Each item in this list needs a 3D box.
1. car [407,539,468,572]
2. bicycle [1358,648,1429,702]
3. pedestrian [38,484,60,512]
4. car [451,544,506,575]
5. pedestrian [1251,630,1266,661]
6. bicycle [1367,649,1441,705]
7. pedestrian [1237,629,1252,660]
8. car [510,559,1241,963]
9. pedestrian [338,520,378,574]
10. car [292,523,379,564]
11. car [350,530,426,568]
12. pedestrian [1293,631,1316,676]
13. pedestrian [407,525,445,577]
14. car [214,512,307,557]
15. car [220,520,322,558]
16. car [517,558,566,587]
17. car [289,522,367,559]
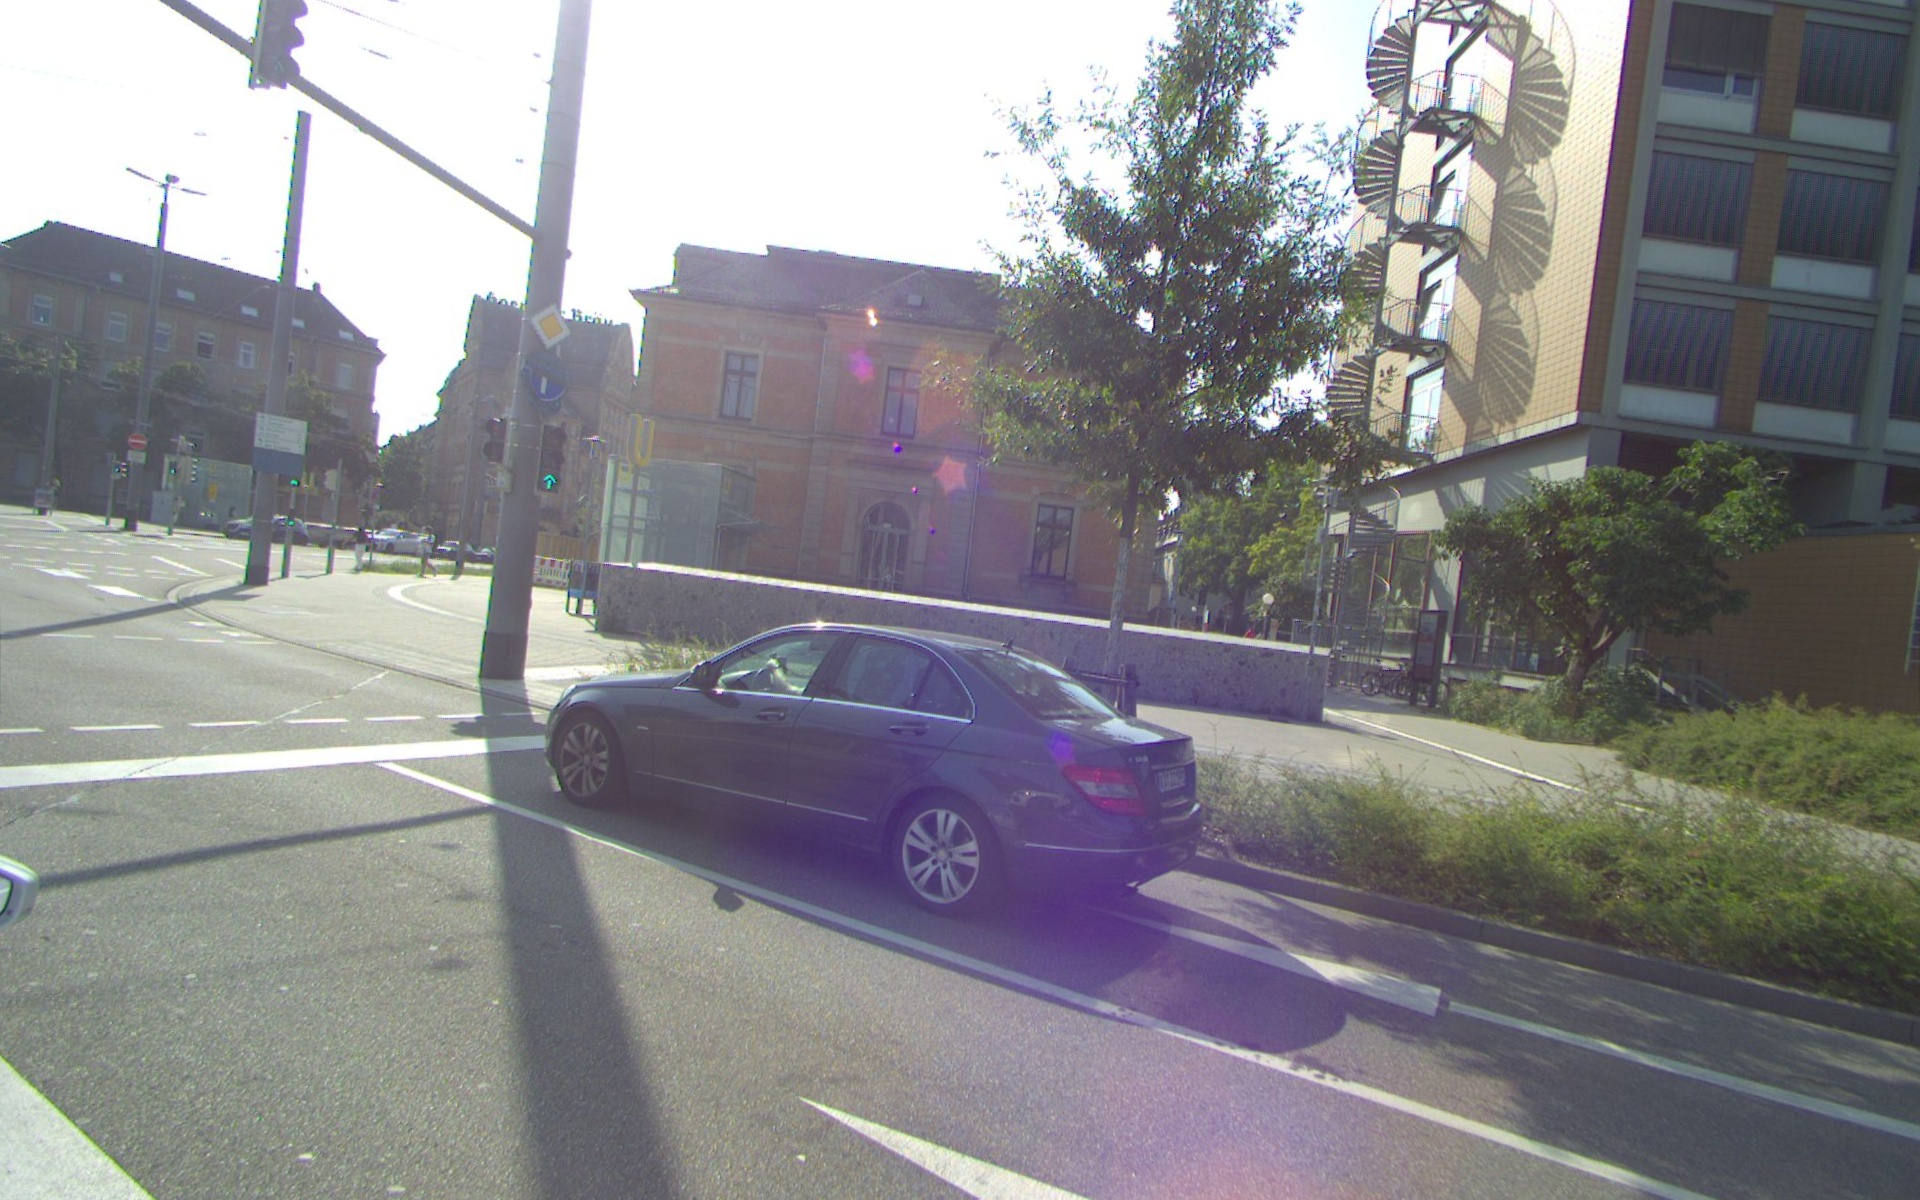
[{"bbox_3d":[-36.988,-3.105,71.334,1.874,1.881,4.251,7,0,1],"label":"car"},{"bbox_3d":[13.514,2.332,31.390,1.782,1.451,0.608,7,1,2],"label":"bicycle"},{"bbox_3d":[-50.846,-5.688,56.141,0.538,1.489,0.666,6,1,-15],"label":"pedestrian"},{"bbox_3d":[-36.733,-3.041,76.819,1.874,1.881,4.251,7,0,1],"label":"car"},{"bbox_3d":[18.449,2.803,62.218,0.624,1.890,0.674,7,1,10],"label":"pedestrian"},{"bbox_3d":[13.438,2.313,30.458,1.804,1.451,0.608,7,1,2],"label":"bicycle"},{"bbox_3d":[17.787,2.778,62.998,0.624,1.890,0.674,7,1,10],"label":"pedestrian"},{"bbox_3d":[-0.656,0.748,6.389,4.297,1.461,1.685,8,1,29],"label":"car"},{"bbox_3d":[-20.520,-1.786,34.300,0.911,1.711,0.832,7,1,-24],"label":"pedestrian"},{"bbox_3d":[-37.305,-3.352,60.239,1.874,1.881,4.711,7,0,3],"label":"car"},{"bbox_3d":[-37.046,-3.275,65.258,2.007,1.881,4.665,7,0,1],"label":"car"},{"bbox_3d":[15.133,2.340,44.230,0.624,1.890,0.674,7,1,10],"label":"pedestrian"},{"bbox_3d":[-18.974,-1.729,35.752,0.910,1.711,0.920,7,0,-21],"label":"pedestrian"},{"bbox_3d":[-37.982,-3.530,54.749,1.874,1.881,4.251,7,0,1],"label":"car"},{"bbox_3d":[-35.146,-3.077,51.450,1.986,1.414,4.388,7,-1,1],"label":"car"},{"bbox_3d":[-32.742,-2.094,78.754,1.875,1.881,4.069,7,0,1],"label":"car"},{"bbox_3d":[-41.889,-3.897,66.791,1.895,1.881,4.276,7,0,10],"label":"car"}]
